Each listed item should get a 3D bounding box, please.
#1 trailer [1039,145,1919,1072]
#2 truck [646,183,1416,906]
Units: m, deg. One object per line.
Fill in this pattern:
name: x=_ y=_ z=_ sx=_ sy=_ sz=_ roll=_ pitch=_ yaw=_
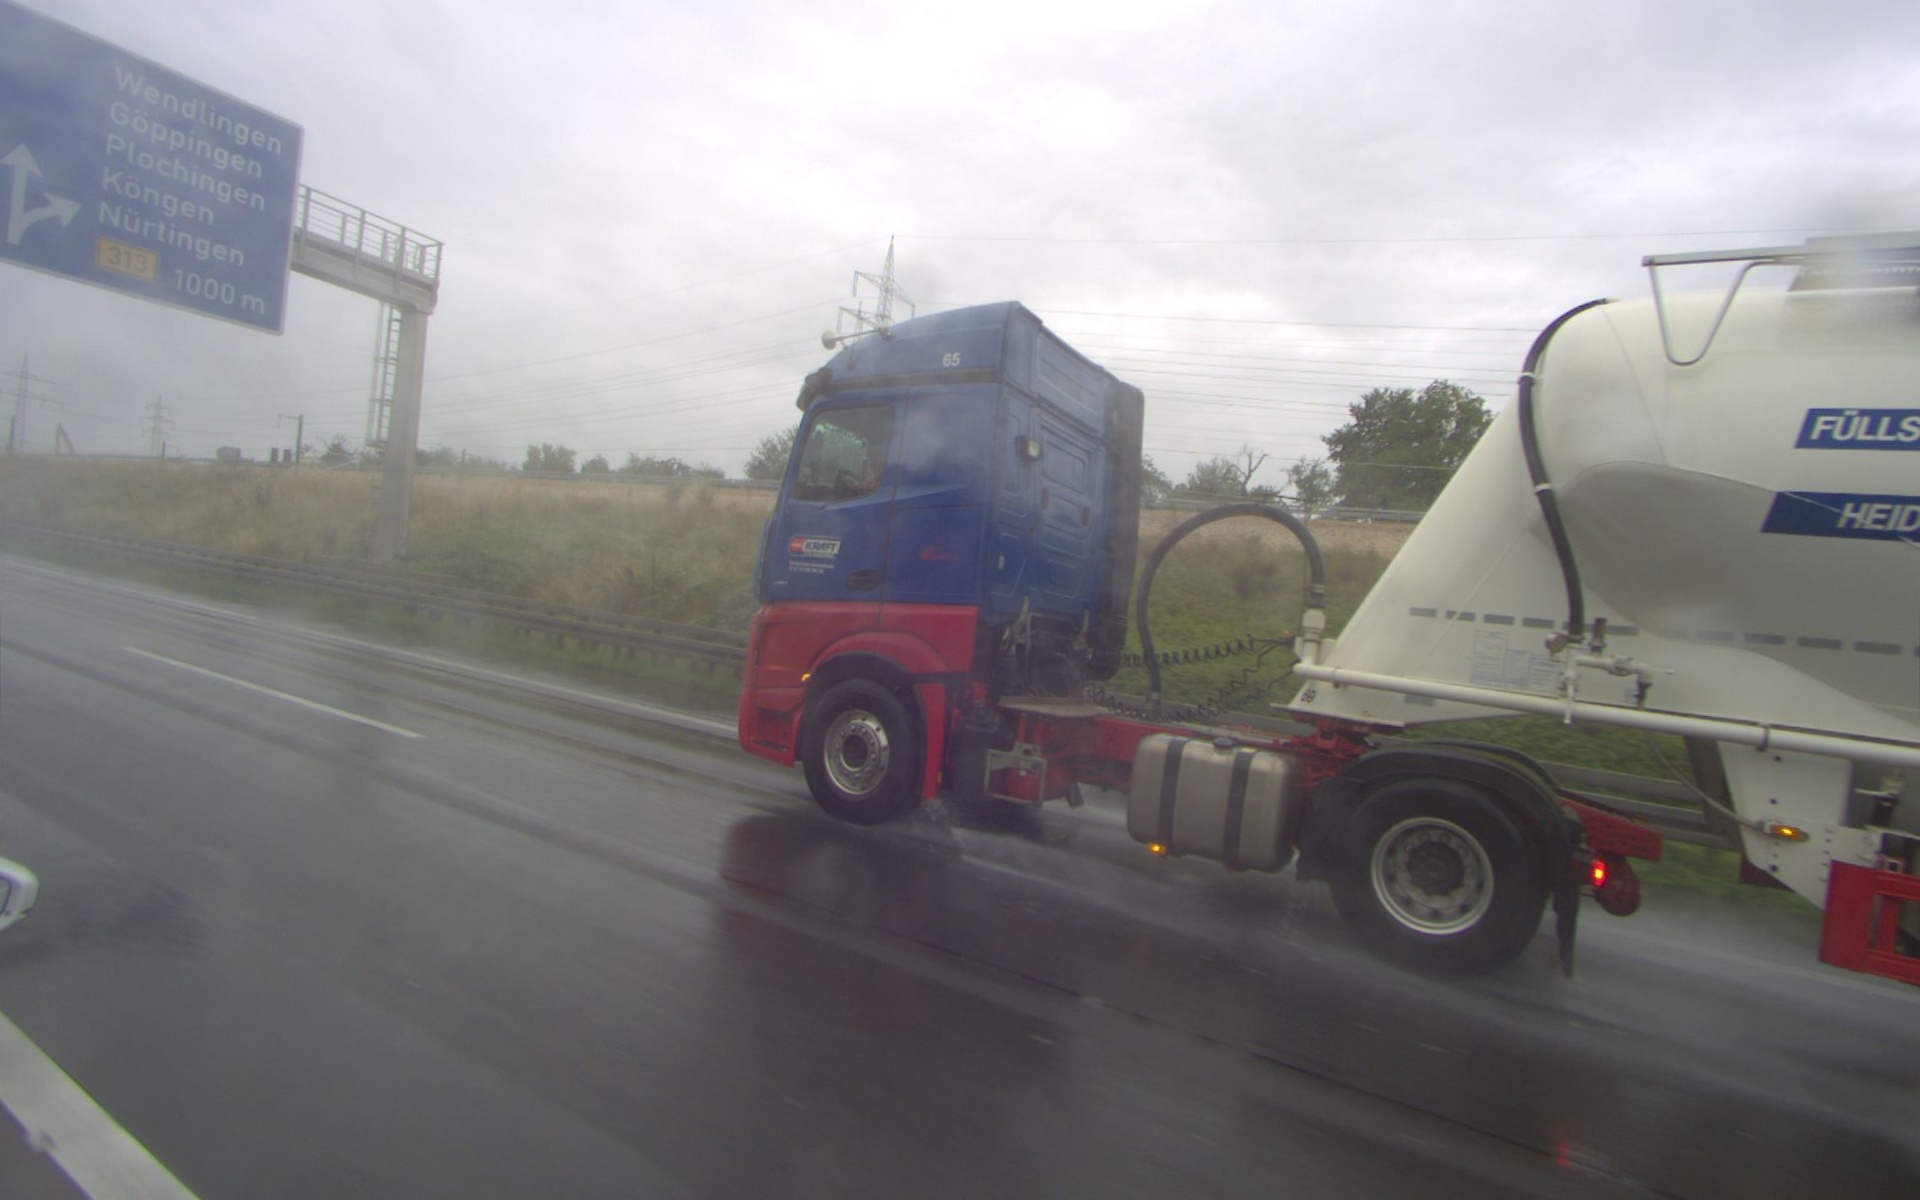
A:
trailer: x=5.998 y=0.285 z=4.560 sx=10.881 sy=3.928 sz=2.502 roll=8 pitch=-1 yaw=31
truck: x=0.477 y=-0.469 z=7.924 sx=4.990 sy=4.030 sz=2.502 roll=8 pitch=-1 yaw=31
